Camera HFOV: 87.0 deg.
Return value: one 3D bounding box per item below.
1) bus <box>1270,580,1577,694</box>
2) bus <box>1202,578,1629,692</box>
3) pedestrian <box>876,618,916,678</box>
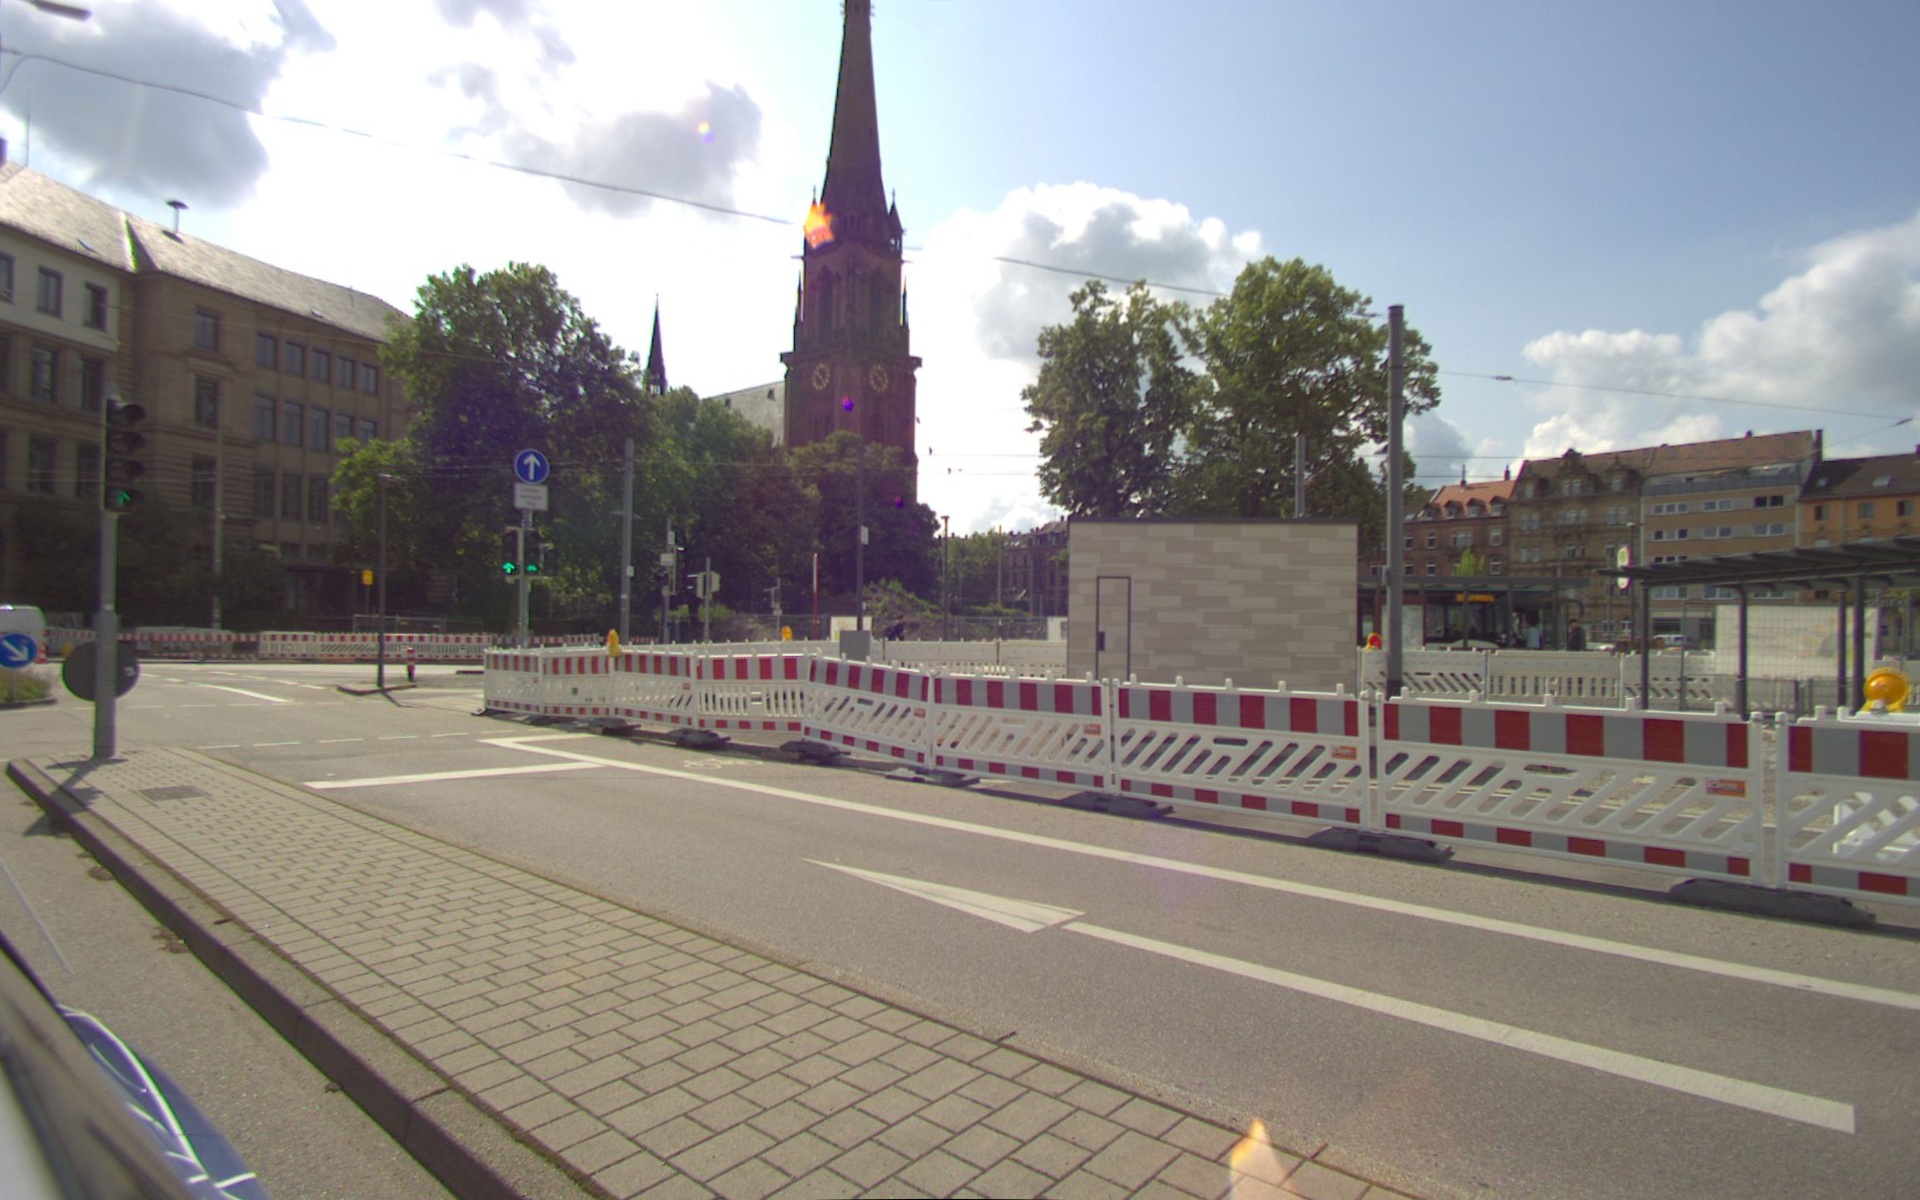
[{"bbox_3d":[13.190,1.048,29.348,7.670,3.081,2.369,0,-2,7],"label":"bus"},{"bbox_3d":[13.998,1.073,32.135,11.930,3.287,2.987,0,-2,7],"label":"bus"},{"bbox_3d":[-1.859,1.387,29.538,0.834,1.719,1.202,0,-2,14],"label":"pedestrian"}]
